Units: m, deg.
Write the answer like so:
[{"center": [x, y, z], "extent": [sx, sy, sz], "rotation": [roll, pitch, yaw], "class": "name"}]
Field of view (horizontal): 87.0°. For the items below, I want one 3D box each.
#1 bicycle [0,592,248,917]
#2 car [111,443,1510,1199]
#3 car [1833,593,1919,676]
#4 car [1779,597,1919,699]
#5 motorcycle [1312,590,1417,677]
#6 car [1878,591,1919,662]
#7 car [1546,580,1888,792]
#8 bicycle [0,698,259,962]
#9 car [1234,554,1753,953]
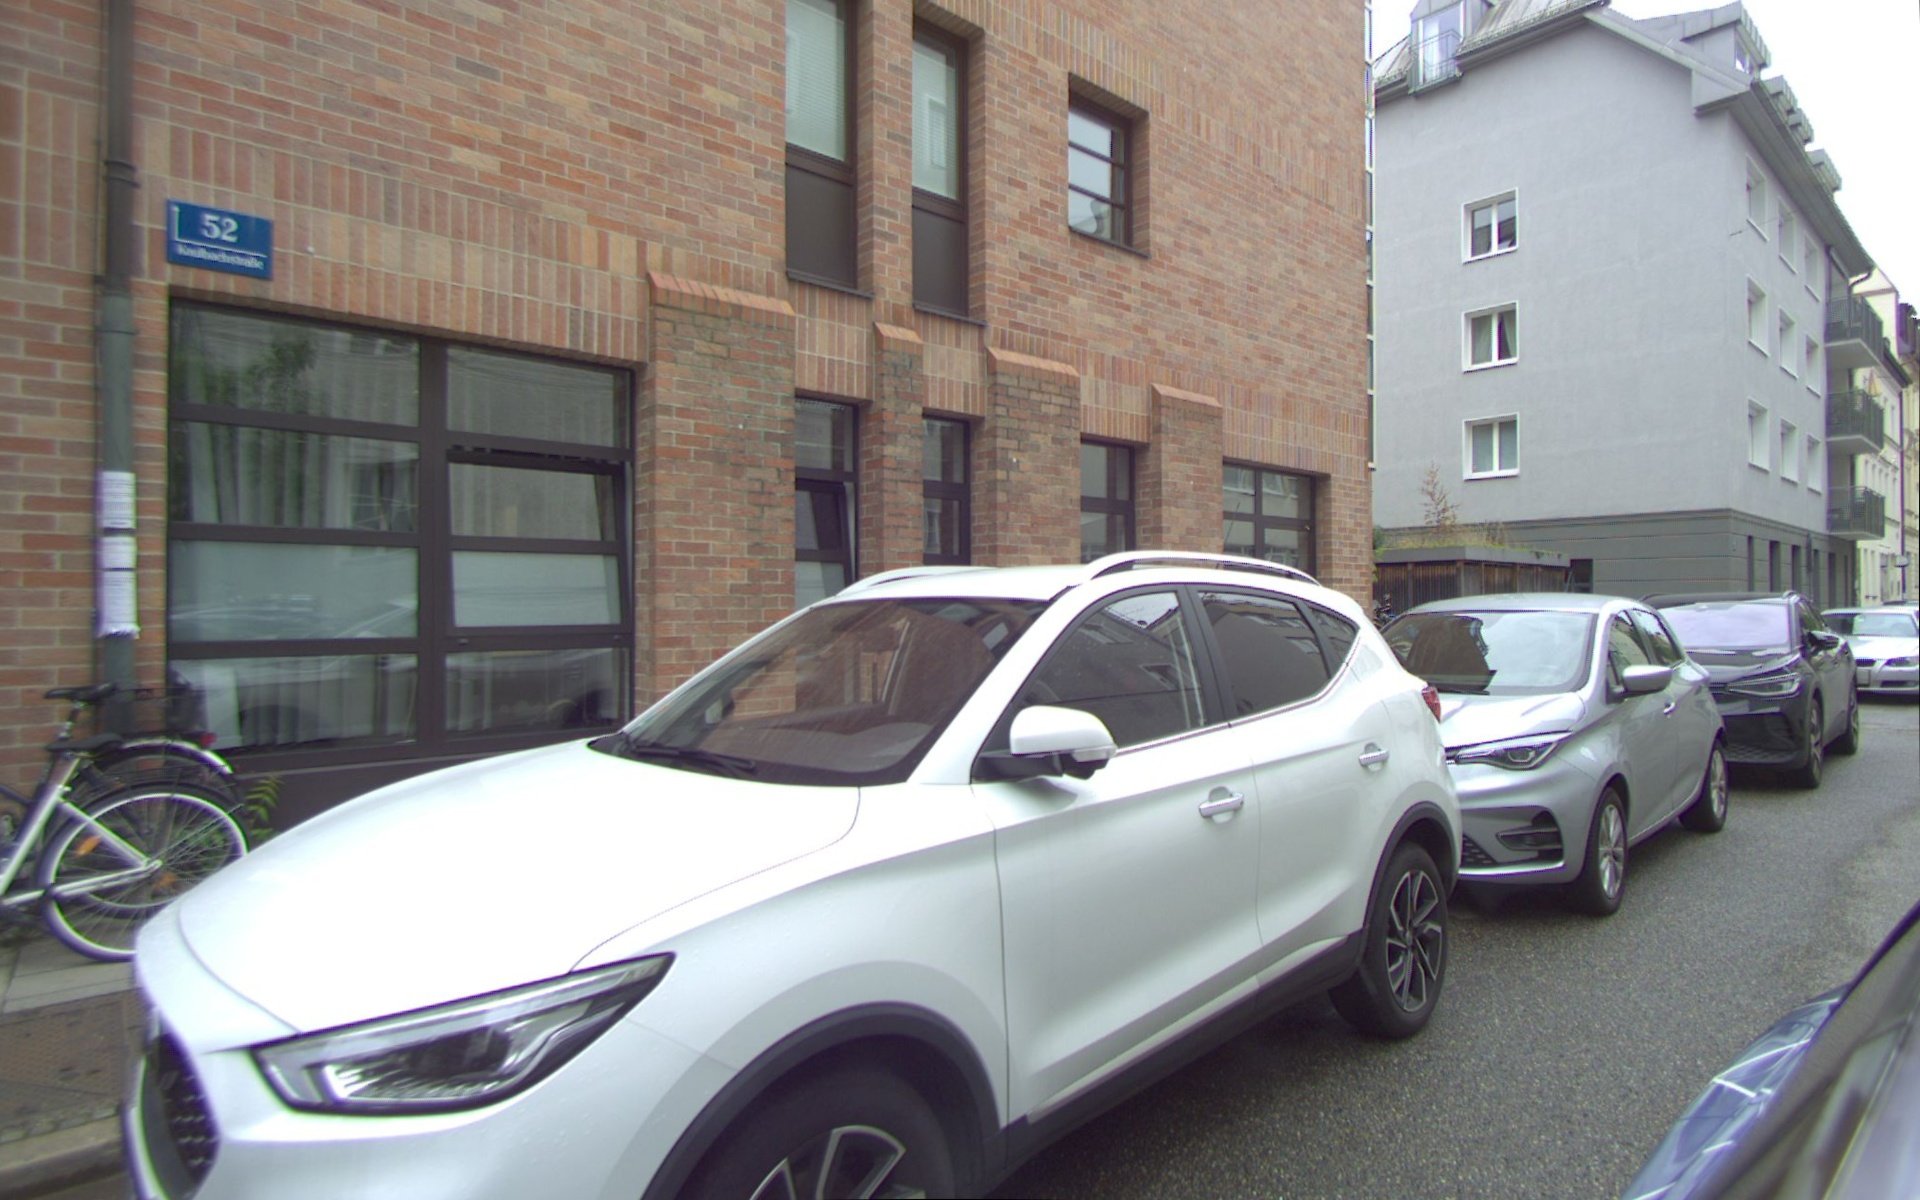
[{"center": [-3.923, 0.618, 4.225], "extent": [1.525, 1.292, 0.379], "rotation": [-1, 1, -41], "class": "bicycle"}, {"center": [0.065, 0.638, 3.189], "extent": [4.126, 1.651, 1.750], "rotation": [0, 0, -43], "class": "car"}, {"center": [18.430, 0.610, 19.638], "extent": [4.079, 1.480, 1.748], "rotation": [0, -1, -42], "class": "car"}, {"center": [14.809, 0.680, 16.291], "extent": [4.522, 1.435, 1.839], "rotation": [0, -1, -42], "class": "car"}, {"center": [6.692, 0.518, 16.720], "extent": [1.901, 1.361, 0.542], "rotation": [-1, 1, -30], "class": "motorcycle"}, {"center": [22.086, 0.571, 22.982], "extent": [3.147, 1.531, 1.523], "rotation": [0, -1, -42], "class": "car"}, {"center": [7.393, 0.643, 9.711], "extent": [4.317, 1.575, 1.887], "rotation": [0, -1, -43], "class": "car"}, {"center": [-3.651, 0.896, 3.918], "extent": [1.515, 0.885, 0.385], "rotation": [-1, 1, -41], "class": "bicycle"}, {"center": [3.429, 0.604, 6.160], "extent": [3.818, 1.656, 1.722], "rotation": [-1, 1, -44], "class": "car"}]
